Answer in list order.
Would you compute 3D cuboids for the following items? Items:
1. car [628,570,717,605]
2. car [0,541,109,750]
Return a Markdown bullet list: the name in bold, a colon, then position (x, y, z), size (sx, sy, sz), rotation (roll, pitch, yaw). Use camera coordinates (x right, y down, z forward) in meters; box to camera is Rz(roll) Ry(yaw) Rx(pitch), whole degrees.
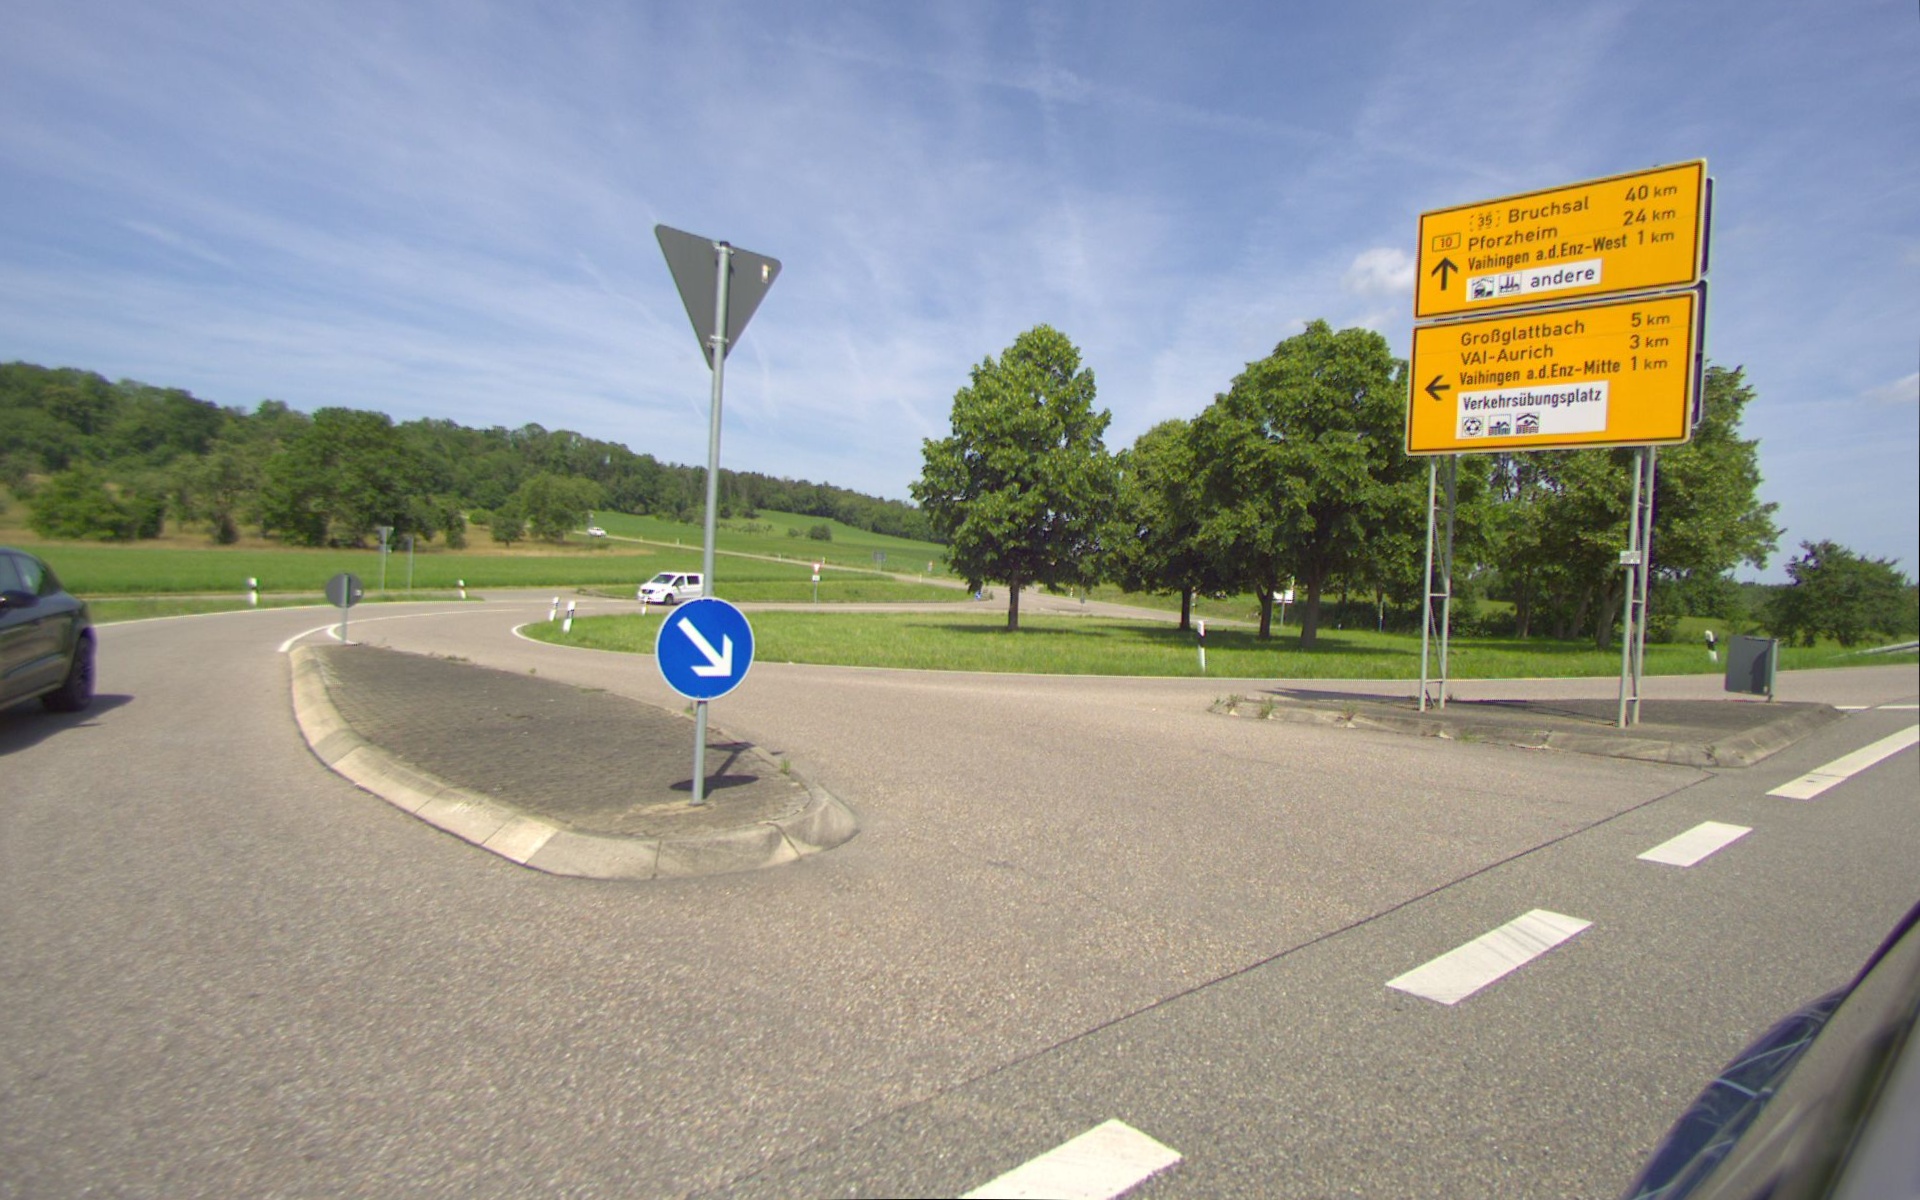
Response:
- **car**: position (-16.902, -0.746, 59.761), size (1.980, 1.869, 5.373), rotation (4, 3, 25)
- **car**: position (-8.779, 0.313, 8.233), size (2.022, 1.609, 4.435), rotation (0, 1, -29)
